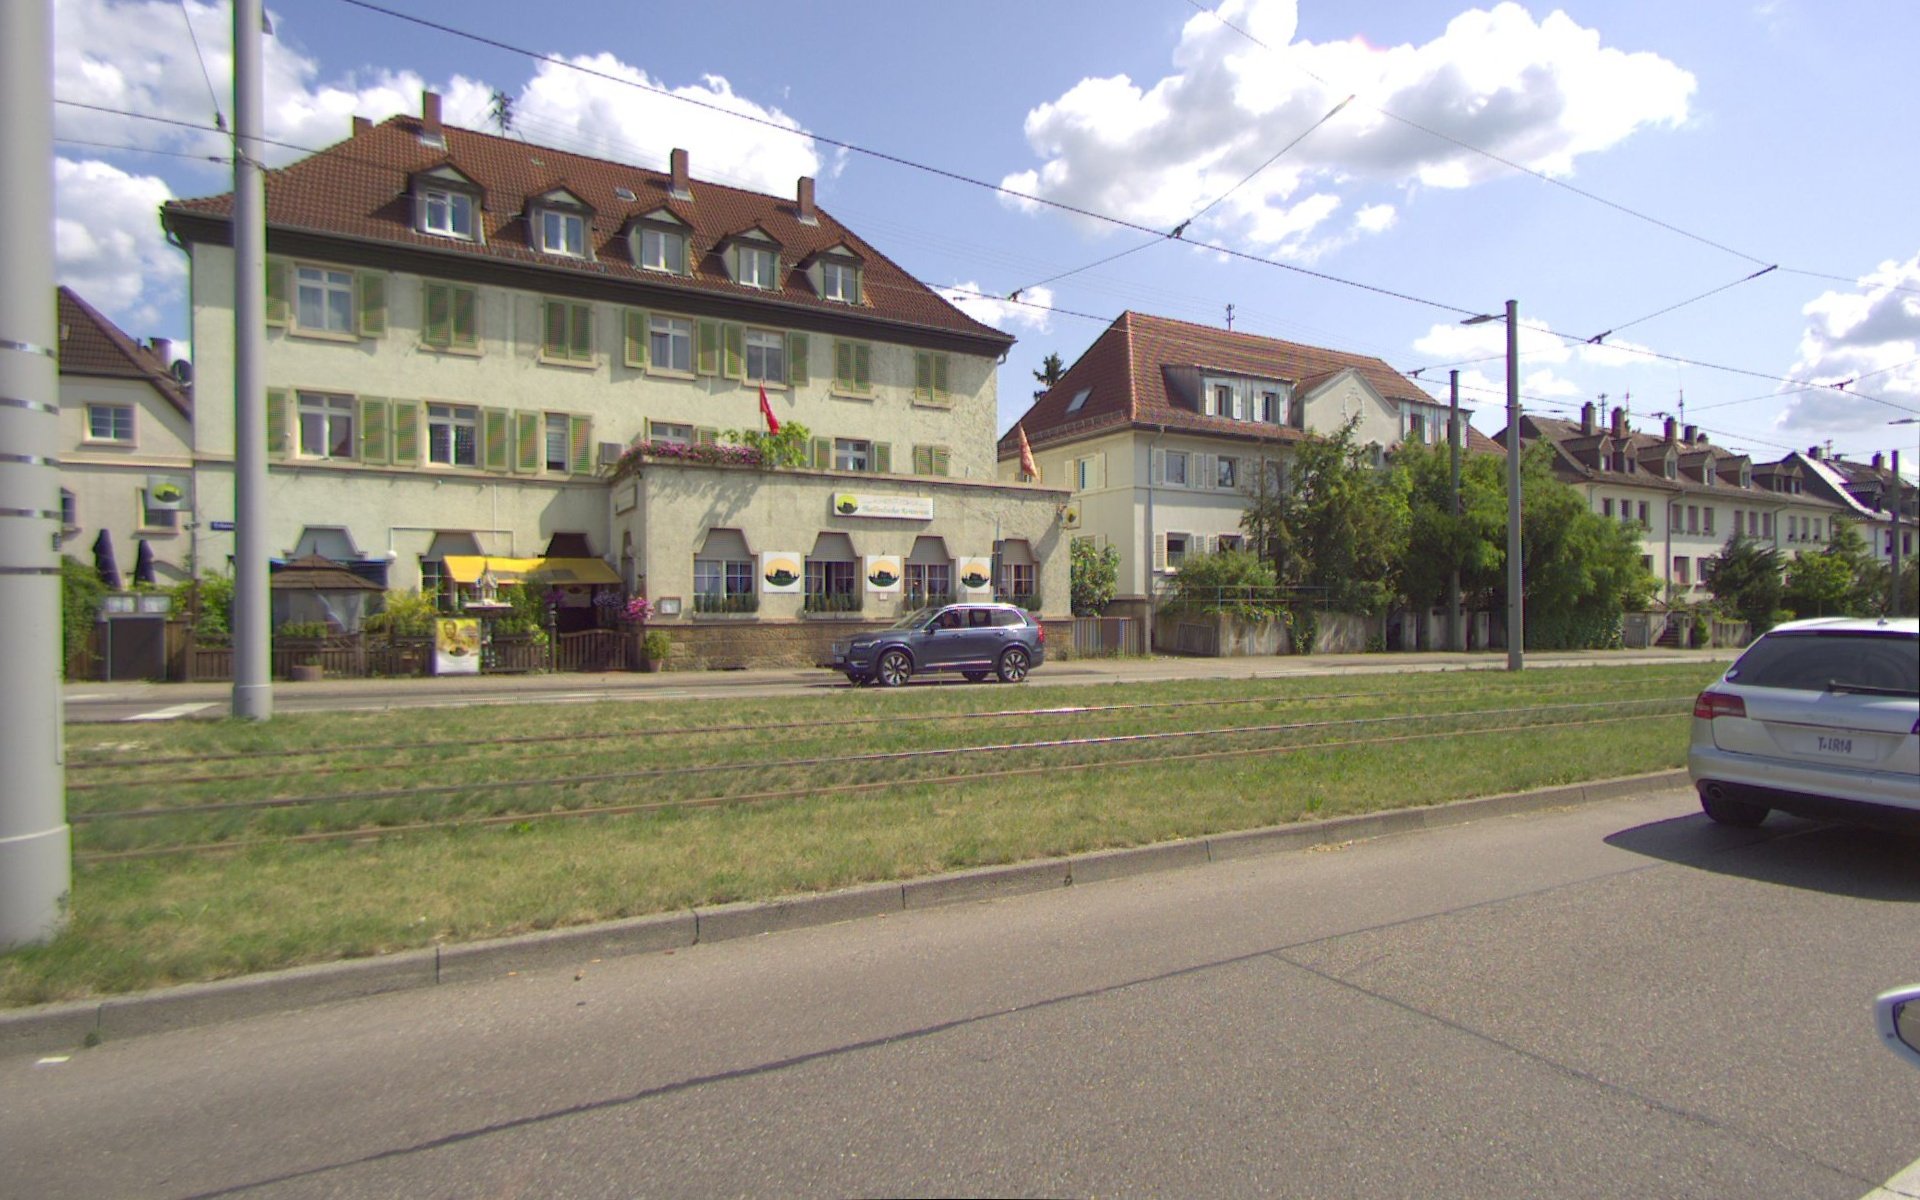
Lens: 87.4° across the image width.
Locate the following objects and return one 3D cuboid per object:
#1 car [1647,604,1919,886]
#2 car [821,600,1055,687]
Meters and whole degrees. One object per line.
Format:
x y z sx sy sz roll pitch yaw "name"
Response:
6.927 0.817 6.982 4.668 1.491 1.785 1 0 -31 "car"
-0.444 0.939 22.324 4.881 1.734 2.004 1 -2 -31 "car"
